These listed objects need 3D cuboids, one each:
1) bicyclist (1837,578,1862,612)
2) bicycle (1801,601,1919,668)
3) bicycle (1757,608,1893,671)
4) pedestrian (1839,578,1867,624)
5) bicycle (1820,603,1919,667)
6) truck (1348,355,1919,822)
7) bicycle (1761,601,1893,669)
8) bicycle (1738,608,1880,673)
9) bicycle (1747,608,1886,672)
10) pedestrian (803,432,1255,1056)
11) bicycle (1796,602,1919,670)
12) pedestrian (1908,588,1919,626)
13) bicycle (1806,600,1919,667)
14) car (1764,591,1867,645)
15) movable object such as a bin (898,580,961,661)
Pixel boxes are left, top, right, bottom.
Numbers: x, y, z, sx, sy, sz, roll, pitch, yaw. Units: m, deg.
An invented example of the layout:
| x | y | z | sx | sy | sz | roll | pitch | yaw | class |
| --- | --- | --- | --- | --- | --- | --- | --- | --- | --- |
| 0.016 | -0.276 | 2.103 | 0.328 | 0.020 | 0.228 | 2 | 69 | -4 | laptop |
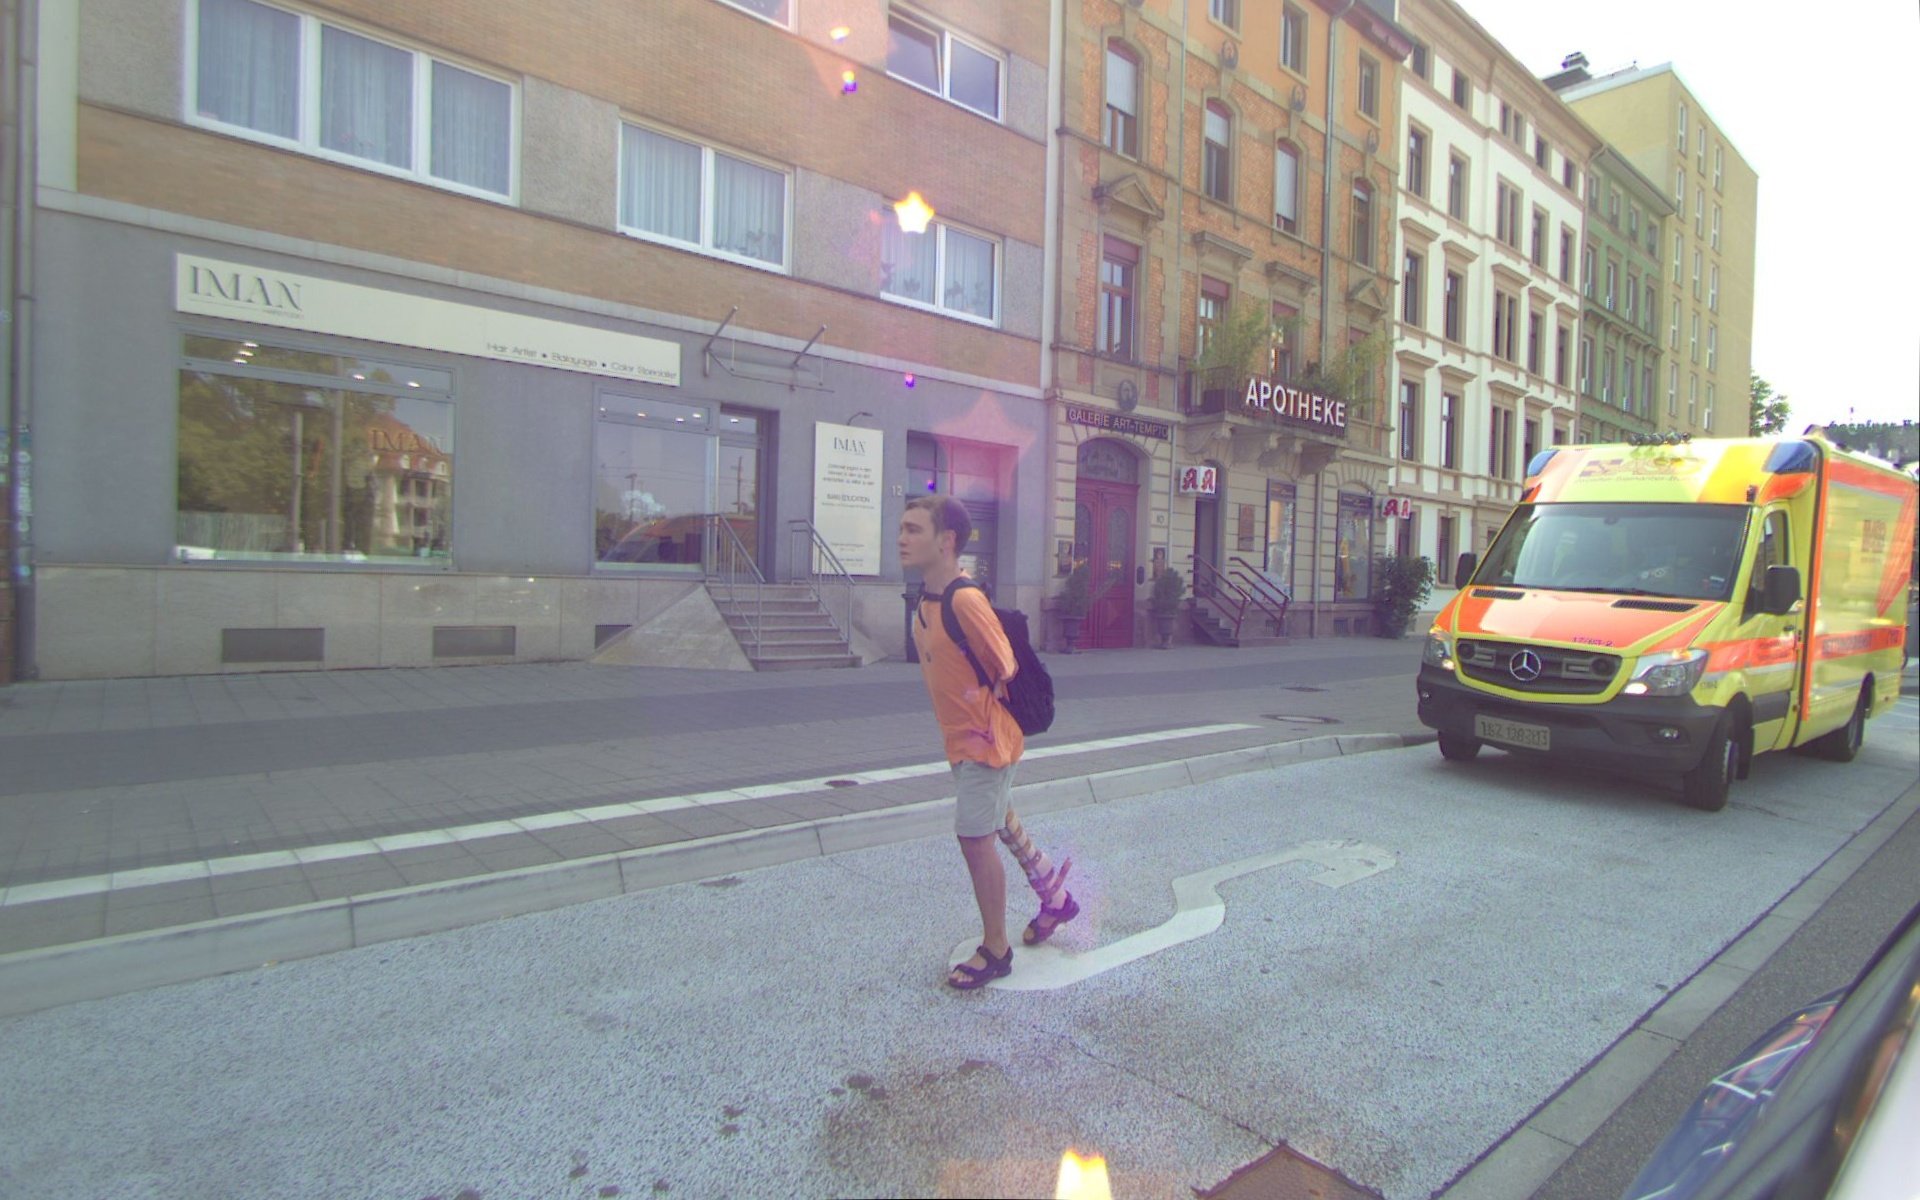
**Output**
| x | y | z | sx | sy | sz | roll | pitch | yaw | class |
| --- | --- | --- | --- | --- | --- | --- | --- | --- | --- |
| 41.925 | -0.234 | 47.704 | 1.083 | 1.606 | 0.721 | 1 | 1 | -40 | bicyclist |
| 17.364 | 0.644 | 19.409 | 0.427 | 1.219 | 1.841 | 1 | 0 | -39 | bicycle |
| 16.021 | 0.701 | 18.778 | 0.645 | 1.070 | 1.841 | 1 | 0 | -40 | bicycle |
| 32.689 | 0.036 | 37.049 | 0.783 | 1.648 | 0.645 | 1 | 2 | -43 | pedestrian |
| 18.555 | 0.692 | 20.342 | 0.626 | 1.219 | 1.841 | 1 | 0 | -39 | bicycle |
| 6.281 | -0.141 | 8.888 | 6.221 | 2.803 | 2.336 | 0 | 4 | -37 | truck |
| 16.442 | 0.633 | 19.224 | 0.539 | 1.219 | 1.841 | 1 | 0 | -40 | bicycle |
| 15.002 | 0.689 | 17.918 | 0.645 | 1.066 | 1.841 | 1 | 0 | -40 | bicycle |
| 15.497 | 0.692 | 18.348 | 0.645 | 1.074 | 1.841 | 1 | 0 | -40 | bicycle |
| 0.188 | 0.381 | 3.527 | 1.213 | 1.761 | 0.969 | 0 | 3 | -25 | pedestrian |
| 17.028 | 0.652 | 19.142 | 0.427 | 1.219 | 1.841 | 1 | 0 | -39 | bicycle |
| 42.186 | 0.330 | 44.292 | 0.780 | 1.648 | 0.647 | 1 | 2 | -18 | pedestrian |
| 17.710 | 0.627 | 19.702 | 0.427 | 1.235 | 1.841 | 1 | 0 | -39 | bicycle |
| 26.303 | 0.510 | 31.079 | 3.863 | 1.444 | 1.667 | 0 | 4 | -40 | car |
| -0.442 | 0.289 | 14.886 | 0.640 | 1.118 | 0.723 | 3 | 2 | 24 | movable object such as a bin |
